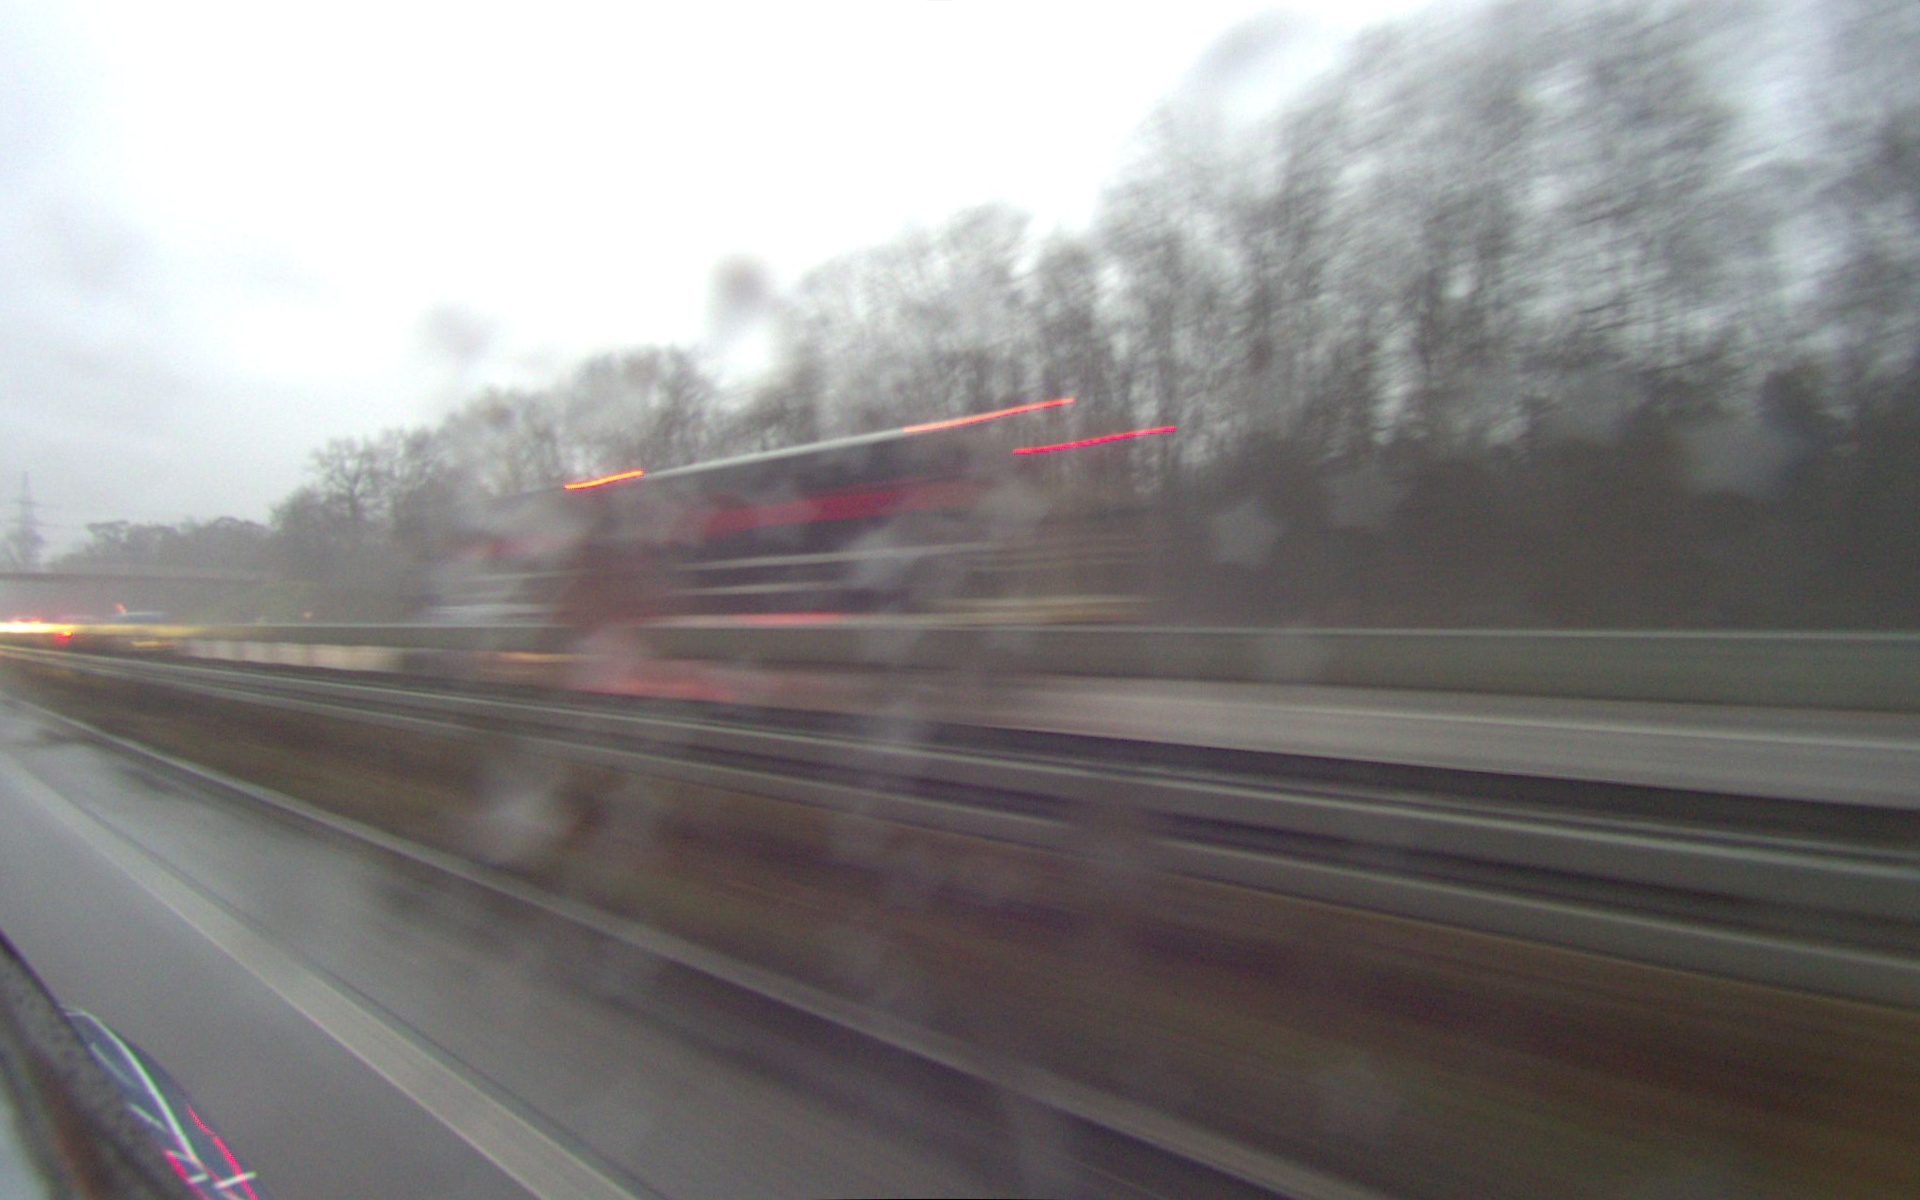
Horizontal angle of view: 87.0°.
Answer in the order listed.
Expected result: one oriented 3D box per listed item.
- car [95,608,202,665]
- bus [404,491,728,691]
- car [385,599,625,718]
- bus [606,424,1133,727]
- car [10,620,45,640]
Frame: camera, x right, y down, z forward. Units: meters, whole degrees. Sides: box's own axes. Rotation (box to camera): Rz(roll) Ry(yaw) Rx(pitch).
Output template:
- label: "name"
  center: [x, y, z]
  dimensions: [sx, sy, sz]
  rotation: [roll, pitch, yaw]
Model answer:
- label: "car"
  center: [-24.824, 1.067, 30.923]
  dimensions: [4.150, 1.606, 1.811]
  rotation: [-1, 0, 40]
- label: "bus"
  center: [-8.941, -0.111, 22.156]
  dimensions: [9.083, 3.582, 2.698]
  rotation: [-1, 0, 41]
- label: "car"
  center: [-6.998, 0.795, 15.347]
  dimensions: [4.269, 1.546, 1.779]
  rotation: [-1, 0, 43]
- label: "bus"
  center: [-1.952, -0.241, 16.005]
  dimensions: [9.151, 3.582, 2.710]
  rotation: [-1, 0, 41]
- label: "car"
  center: [-77.482, 2.472, 84.094]
  dimensions: [4.603, 1.659, 1.672]
  rotation: [-1, 0, 41]
